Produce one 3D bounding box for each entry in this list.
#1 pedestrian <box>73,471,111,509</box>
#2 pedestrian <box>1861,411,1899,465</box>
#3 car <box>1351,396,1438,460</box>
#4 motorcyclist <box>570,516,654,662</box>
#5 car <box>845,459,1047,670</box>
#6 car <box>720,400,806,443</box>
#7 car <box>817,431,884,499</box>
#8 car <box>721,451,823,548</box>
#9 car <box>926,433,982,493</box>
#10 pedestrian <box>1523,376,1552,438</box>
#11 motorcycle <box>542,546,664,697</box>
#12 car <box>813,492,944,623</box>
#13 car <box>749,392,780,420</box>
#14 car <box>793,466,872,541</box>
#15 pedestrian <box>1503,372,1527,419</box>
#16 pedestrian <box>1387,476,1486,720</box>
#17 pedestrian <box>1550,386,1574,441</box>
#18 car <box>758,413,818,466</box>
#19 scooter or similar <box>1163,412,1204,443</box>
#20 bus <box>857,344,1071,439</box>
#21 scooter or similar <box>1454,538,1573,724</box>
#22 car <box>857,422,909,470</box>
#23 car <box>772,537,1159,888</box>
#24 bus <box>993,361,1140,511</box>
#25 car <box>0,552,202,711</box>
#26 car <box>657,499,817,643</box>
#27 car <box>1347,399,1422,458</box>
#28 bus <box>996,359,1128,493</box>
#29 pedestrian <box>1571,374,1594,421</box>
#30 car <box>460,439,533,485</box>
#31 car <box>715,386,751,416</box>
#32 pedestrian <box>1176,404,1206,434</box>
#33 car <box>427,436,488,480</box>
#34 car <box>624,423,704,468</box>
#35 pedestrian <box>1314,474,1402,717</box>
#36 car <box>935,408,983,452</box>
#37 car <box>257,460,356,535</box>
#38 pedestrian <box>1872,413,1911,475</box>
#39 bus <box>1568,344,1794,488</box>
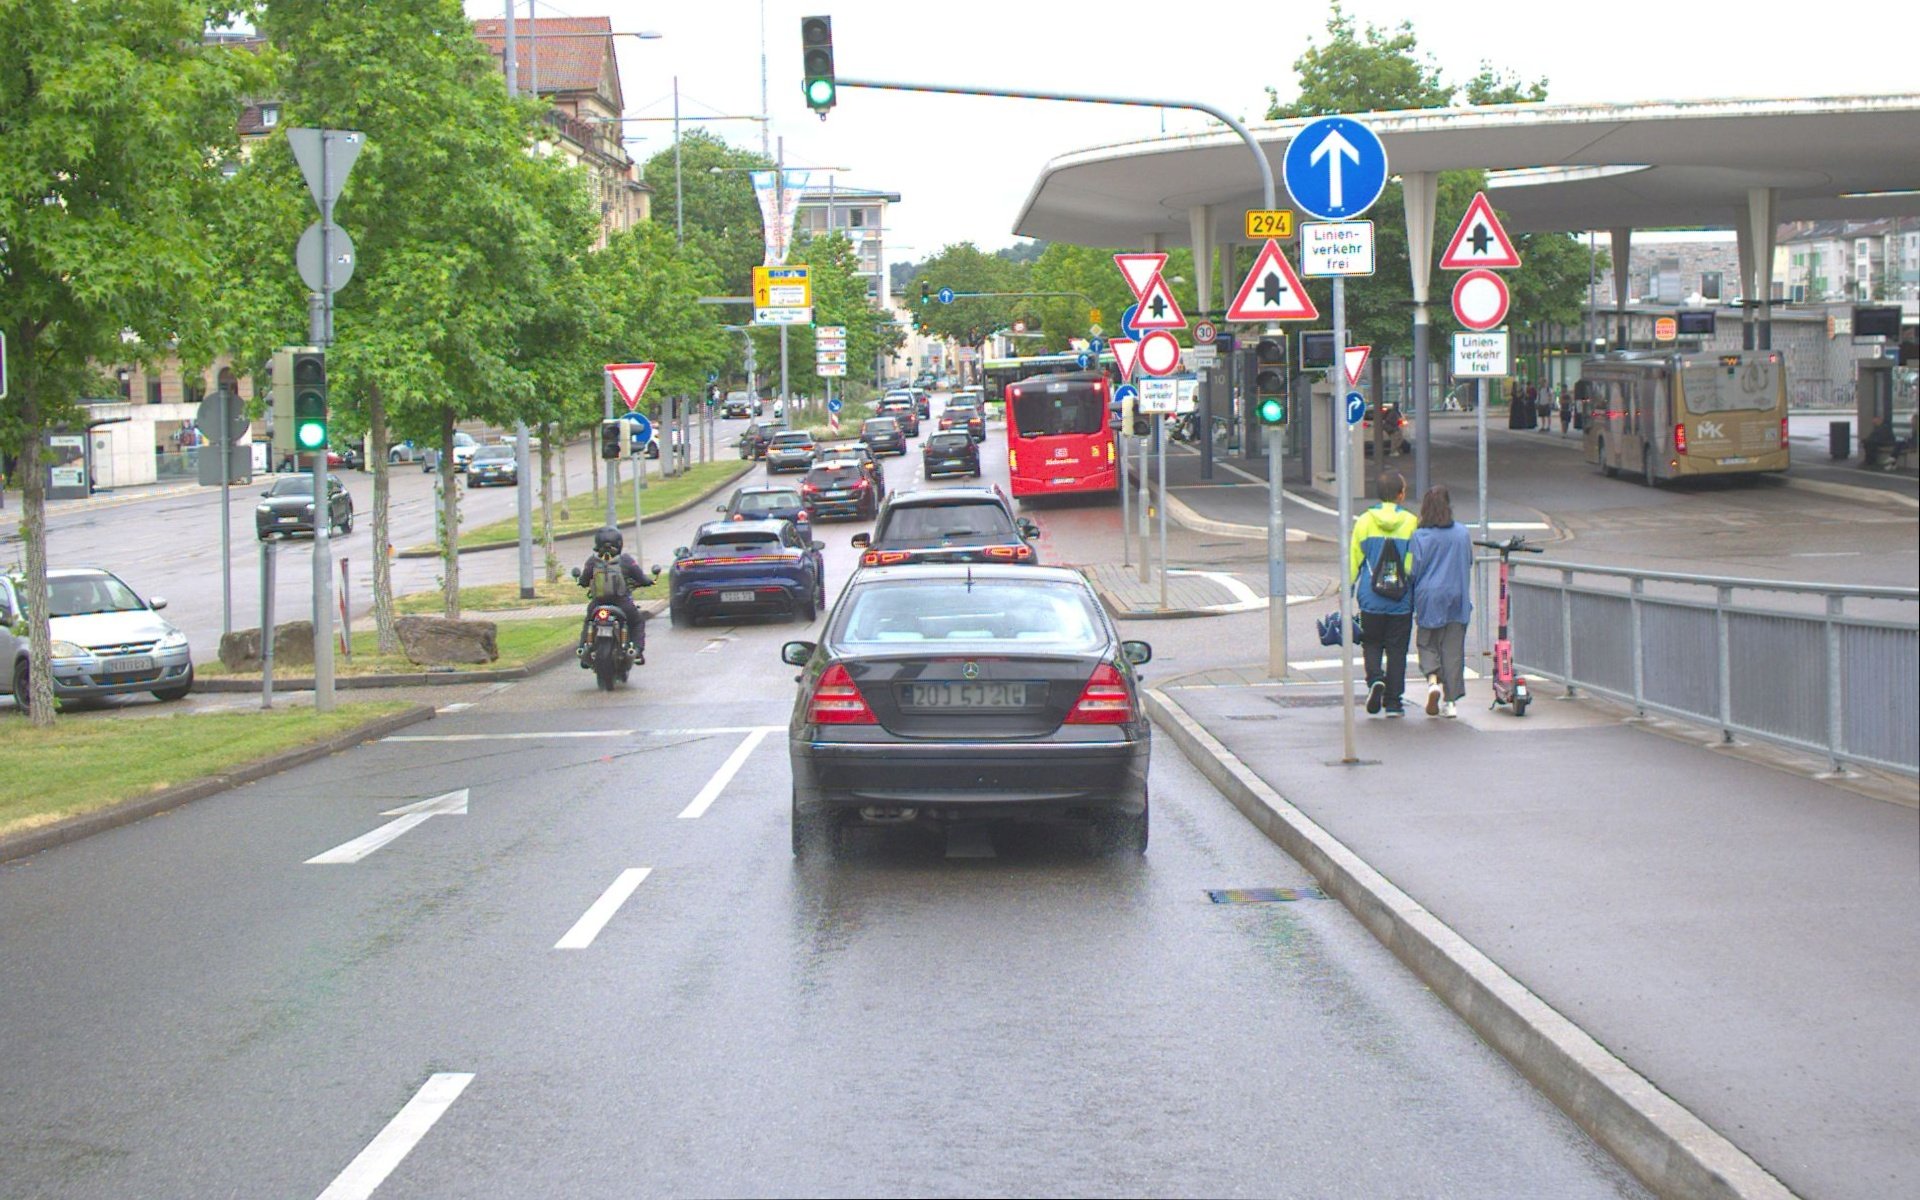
[{"bbox_3d":[-30.901,-3.922,122.418,0.977,1.263,0.849,3,6,21],"label":"pedestrian"},{"bbox_3d":[21.652,-3.818,80.909,0.793,1.222,0.633,-1,4,18],"label":"pedestrian"},{"bbox_3d":[10.914,-4.342,86.476,1.647,1.448,3.239,-2,5,-2],"label":"car"},{"bbox_3d":[-3.394,-0.112,33.555,0.641,1.342,0.689,-3,4,4],"label":"motorcyclist"},{"bbox_3d":[-0.139,-0.465,38.127,1.957,1.869,4.875,-4,4,0],"label":"car"},{"bbox_3d":[-7.647,-6.918,133.214,1.727,1.555,3.768,-3,3,-32],"label":"car"},{"bbox_3d":[-2.947,-3.676,93.006,1.575,1.561,3.872,-4,4,0],"label":"car"},{"bbox_3d":[-3.702,-2.025,68.200,1.676,1.617,3.872,-4,4,0],"label":"car"},{"bbox_3d":[-0.185,-4.201,105.199,1.575,1.561,3.872,-4,4,0],"label":"car"},{"bbox_3d":[19.138,-6.385,113.897,0.724,2.007,0.669,2,1,27],"label":"pedestrian"},{"bbox_3d":[-3.433,0.187,33.247,0.793,1.257,1.855,-4,4,4],"label":"motorcycle"},{"bbox_3d":[-1.173,-0.667,51.123,1.741,1.561,3.872,-4,4,0],"label":"car"},{"bbox_3d":[-11.934,-11.861,210.038,1.575,1.561,3.431,-4,4,0],"label":"car"},{"bbox_3d":[-3.050,-2.345,82.837,1.575,1.499,3.872,-4,4,1],"label":"car"},{"bbox_3d":[18.933,-6.960,117.271,0.580,1.573,0.560,2,1,30],"label":"pedestrian"},{"bbox_3d":[3.302,-0.011,23.840,0.589,1.665,0.580,1,0,0],"label":"pedestrian"},{"bbox_3d":[18.651,-5.769,106.441,0.560,1.686,0.614,-2,4,-6],"label":"pedestrian"},{"bbox_3d":[-5.851,-5.465,117.429,1.865,1.678,4.000,1,1,0],"label":"car"},{"bbox_3d":[7.629,-5.879,117.198,1.243,1.009,0.764,-1,4,14],"label":"scooter or similar"},{"bbox_3d":[0.059,-9.503,157.613,2.839,3.973,11.860,-5,5,-39],"label":"bus"},{"bbox_3d":[3.811,0.197,23.771,0.463,1.217,1.859,-2,1,0],"label":"scooter or similar"},{"bbox_3d":[-2.876,-5.761,128.817,1.865,1.678,4.000,1,1,0],"label":"car"},{"bbox_3d":[0.014,0.460,17.400,1.697,1.457,4.304,-1,2,0],"label":"car"},{"bbox_3d":[2.571,-4.218,86.116,3.286,3.280,10.880,-3,4,1],"label":"bus"},{"bbox_3d":[-9.413,0.307,35.699,1.632,1.443,3.876,-5,3,-33],"label":"car"},{"bbox_3d":[-3.048,-0.446,47.838,1.816,1.565,4.405,-4,4,0],"label":"car"},{"bbox_3d":[13.005,-5.277,105.502,1.712,1.656,4.241,-1,4,-1],"label":"car"},{"bbox_3d":[2.721,-4.861,94.265,3.291,3.277,8.851,-3,4,1],"label":"bus"},{"bbox_3d":[21.285,-6.931,117.559,0.580,1.573,0.560,2,1,35],"label":"pedestrian"},{"bbox_3d":[-16.949,-5.061,125.917,1.847,1.499,4.920,-2,4,1],"label":"car"},{"bbox_3d":[-13.451,-11.807,204.141,1.780,1.561,3.431,-4,4,0],"label":"car"},{"bbox_3d":[7.864,-6.155,116.871,0.914,0.981,0.633,-1,0,14],"label":"pedestrian"},{"bbox_3d":[-20.933,-5.937,143.392,1.847,1.646,4.420,-2,4,0],"label":"car"},{"bbox_3d":[-12.567,-6.559,146.032,1.642,1.798,3.639,1,1,-38],"label":"car"},{"bbox_3d":[2.768,-0.035,23.921,0.522,1.664,0.580,-1,1,0],"label":"pedestrian"},{"bbox_3d":[-0.044,-6.839,138.584,1.865,1.678,4.000,1,1,0],"label":"car"},{"bbox_3d":[-17.250,-2.736,90.931,1.908,1.656,4.860,-2,5,-3],"label":"car"},{"bbox_3d":[21.383,-3.584,78.920,0.793,1.373,0.633,-1,4,18],"label":"pedestrian"},{"bbox_3d":[16.905,-4.482,81.575,2.721,3.032,12.092,-3,4,0],"label":"bus"}]
